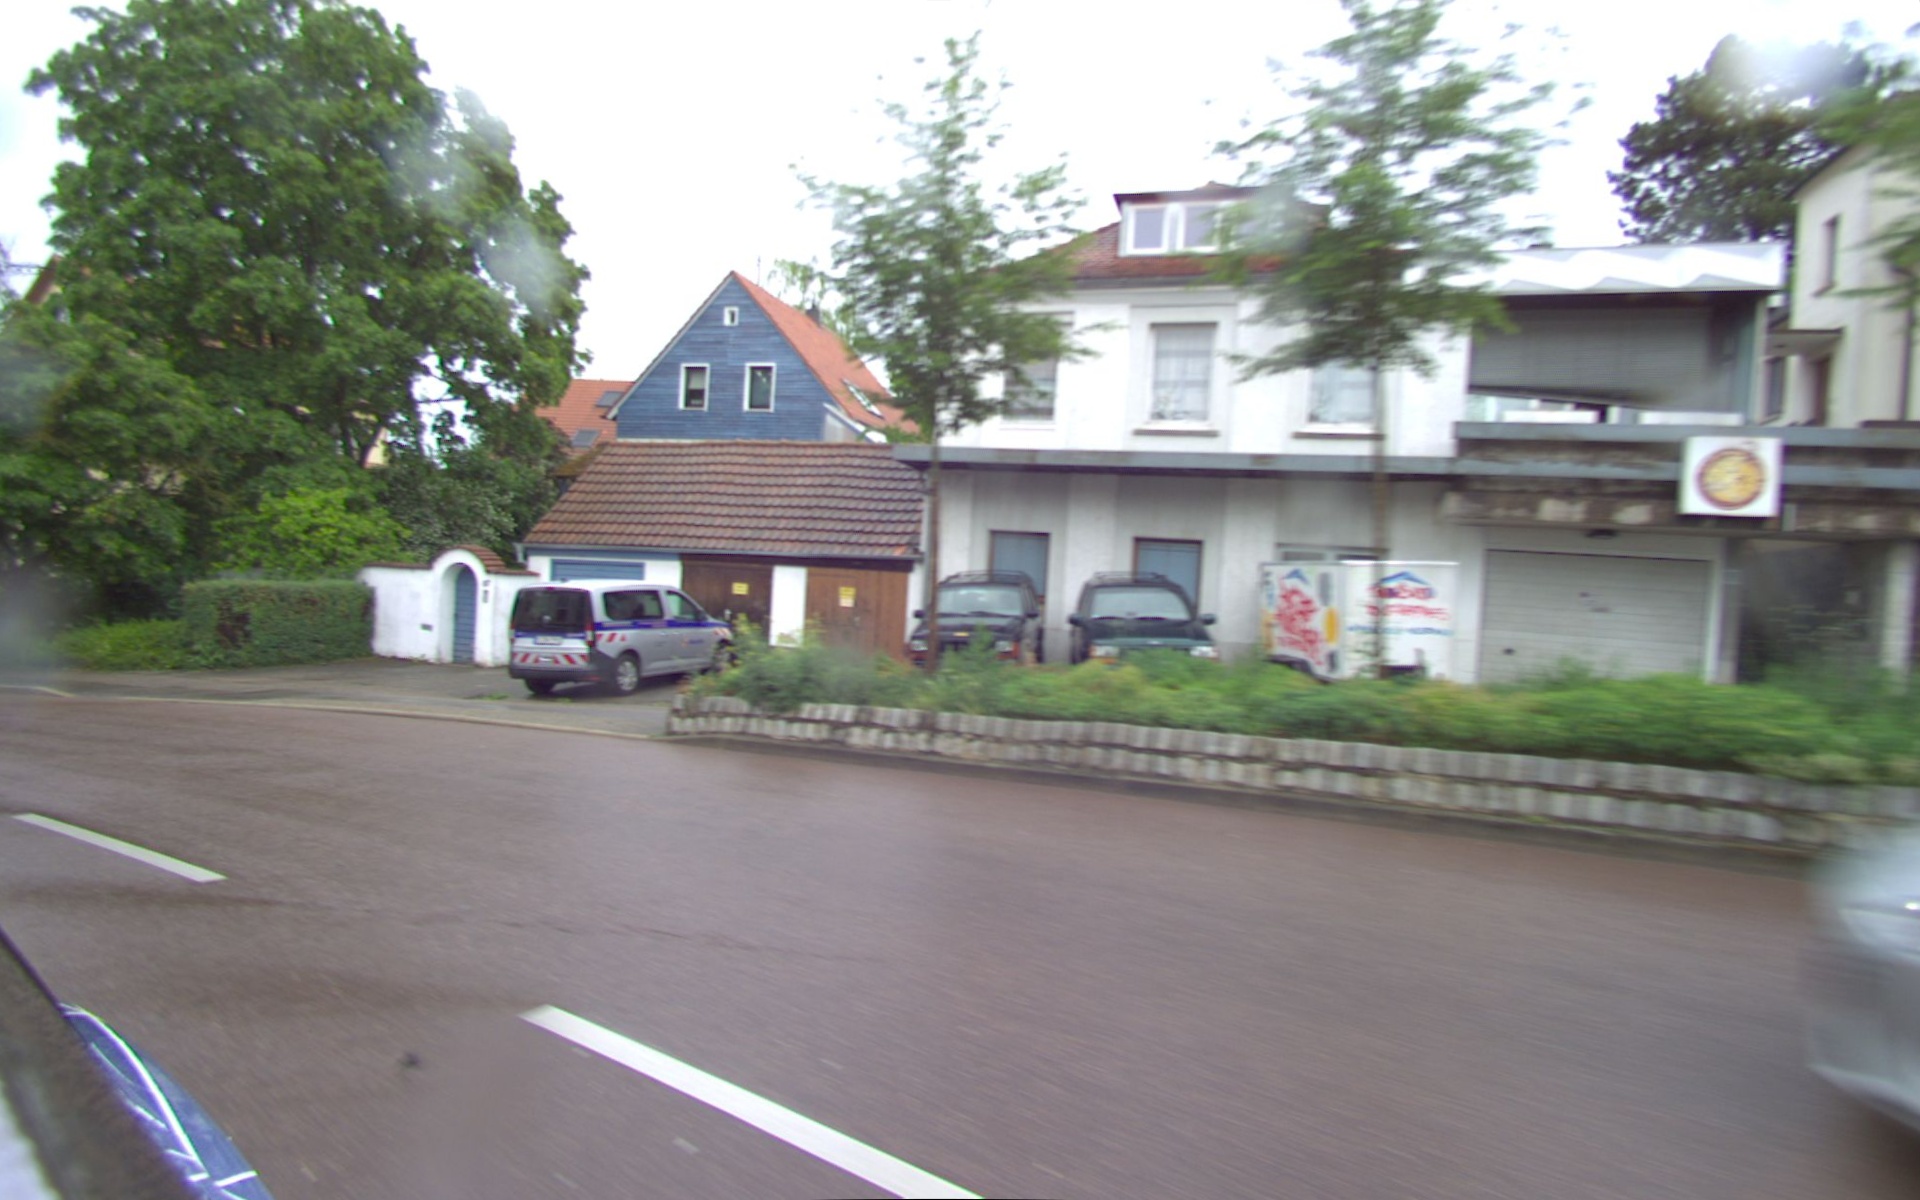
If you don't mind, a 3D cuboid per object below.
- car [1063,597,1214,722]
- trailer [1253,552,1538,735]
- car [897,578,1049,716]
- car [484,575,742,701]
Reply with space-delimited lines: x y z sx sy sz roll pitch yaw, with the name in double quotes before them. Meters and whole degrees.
"car" 2.374 0.714 14.031 1.817 1.496 3.338 0 0 7
"trailer" 5.706 0.551 13.871 1.924 2.118 3.965 1 -1 -4
"car" 0.340 0.577 15.270 1.779 1.787 4.079 0 1 9
"car" -5.594 0.533 16.911 1.985 1.813 4.093 0 0 20
